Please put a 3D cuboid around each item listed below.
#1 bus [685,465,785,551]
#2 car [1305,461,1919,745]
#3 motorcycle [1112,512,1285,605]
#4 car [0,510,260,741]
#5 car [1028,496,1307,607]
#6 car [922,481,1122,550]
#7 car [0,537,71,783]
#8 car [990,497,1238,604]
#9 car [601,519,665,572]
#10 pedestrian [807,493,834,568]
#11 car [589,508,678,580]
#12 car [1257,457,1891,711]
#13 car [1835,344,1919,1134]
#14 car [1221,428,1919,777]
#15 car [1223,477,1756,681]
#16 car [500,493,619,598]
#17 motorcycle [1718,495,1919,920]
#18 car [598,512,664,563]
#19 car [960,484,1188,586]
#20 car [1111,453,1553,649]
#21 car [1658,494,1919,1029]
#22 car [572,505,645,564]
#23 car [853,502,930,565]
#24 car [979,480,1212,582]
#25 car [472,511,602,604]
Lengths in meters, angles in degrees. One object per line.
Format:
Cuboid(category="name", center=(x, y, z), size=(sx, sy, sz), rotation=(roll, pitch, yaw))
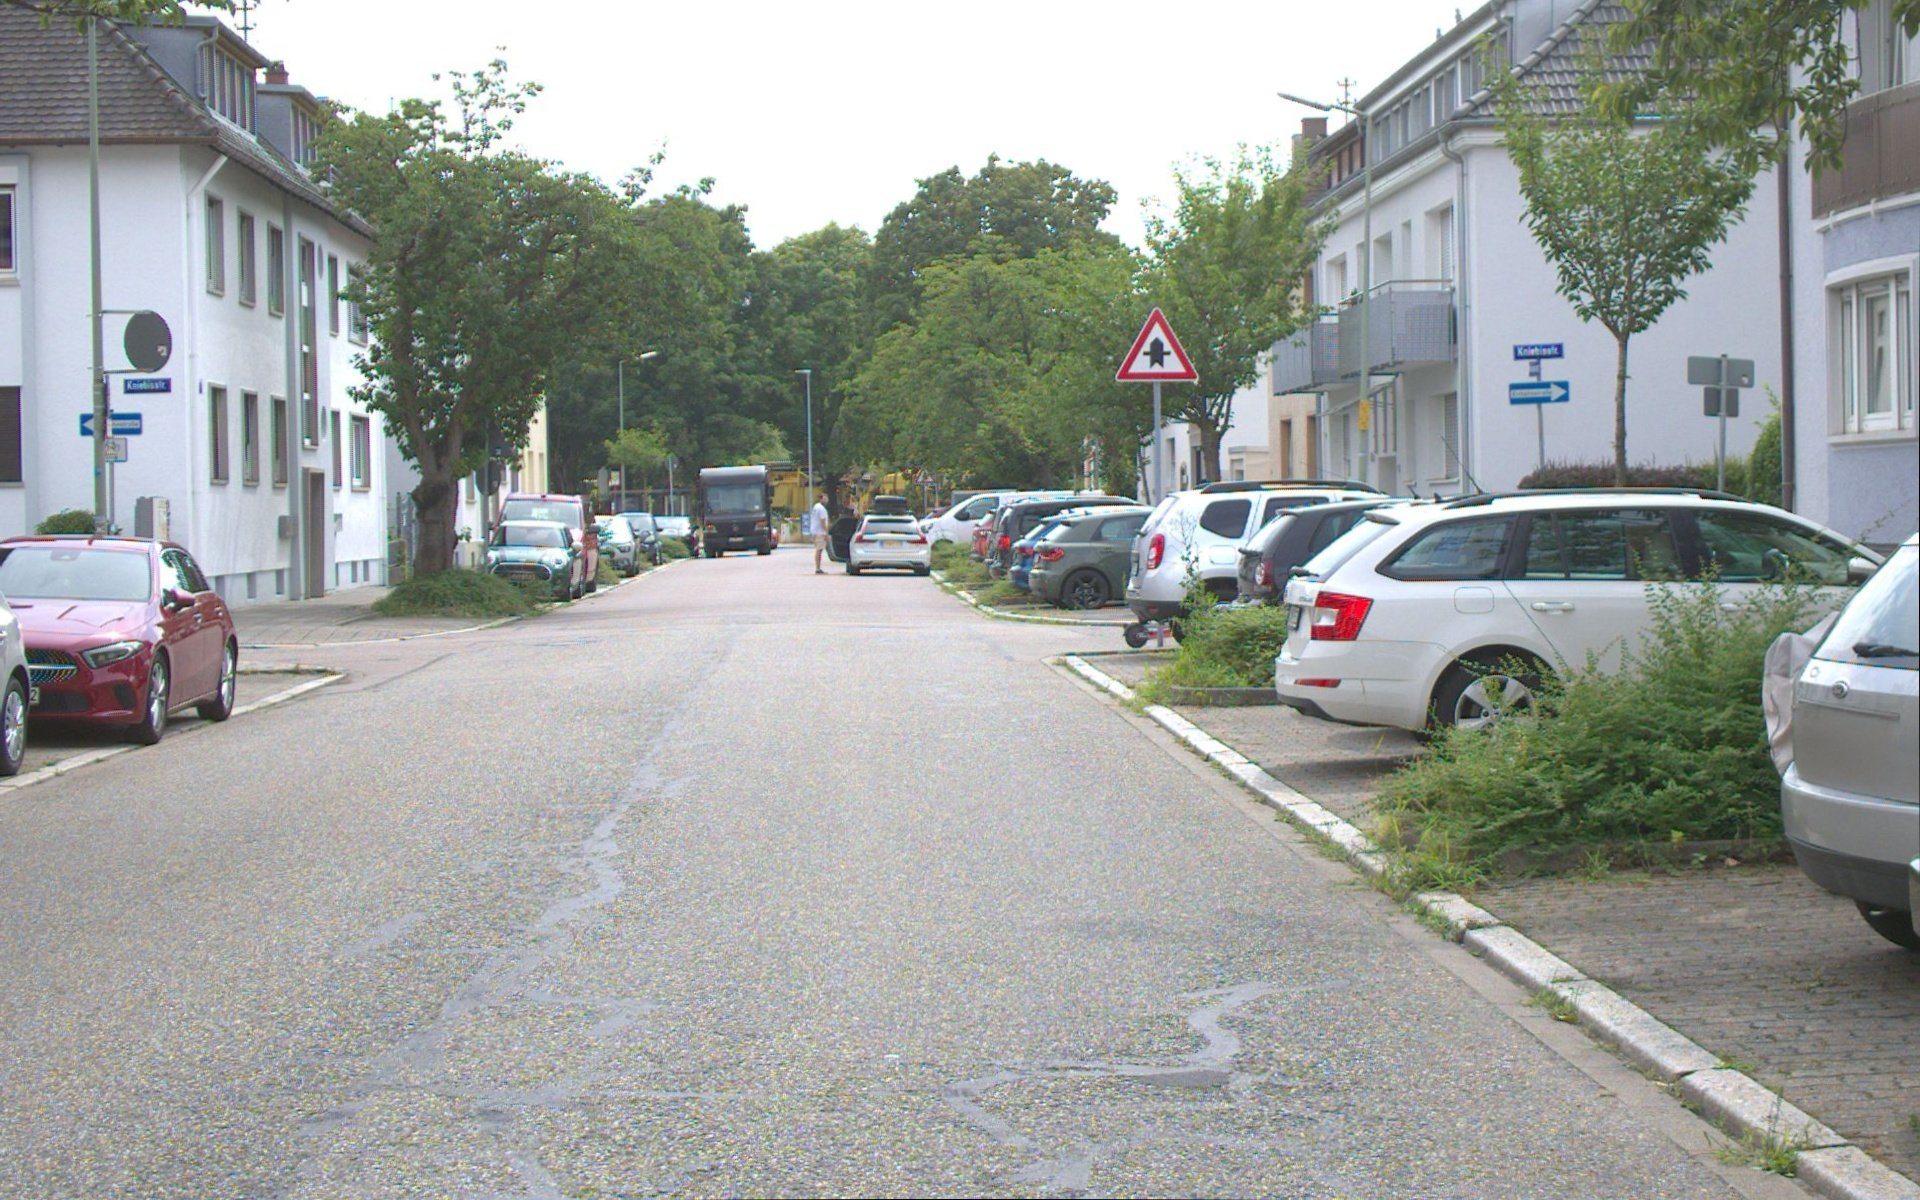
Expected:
Cuboid(category="bus", center=(-7.807, -3.200, 120.145), size=(3.004, 2.751, 8.925), rotation=(-3, 2, -1))
Cuboid(category="car", center=(4.244, -0.019, 21.059), size=(3.987, 1.503, 1.713), rotation=(-3, 1, -2))
Cuboid(category="motorcycle", center=(3.184, -0.567, 46.037), size=(2.193, 1.206, 0.940), rotation=(-1, 1, -4))
Cuboid(category="car", center=(-6.447, 0.134, 24.945), size=(1.877, 1.481, 4.513), rotation=(-3, 2, -2))
Cuboid(category="car", center=(2.889, -0.698, 48.413), size=(3.747, 1.361, 1.773), rotation=(-3, 1, -1))
Cuboid(category="car", center=(1.590, -2.183, 88.775), size=(4.974, 1.513, 1.769), rotation=(-3, 1, -3))
Cuboid(category="car", center=(-6.379, 0.320, 19.054), size=(1.771, 1.387, 4.275), rotation=(5, 1, -1))
Cuboid(category="car", center=(2.264, -0.747, 51.109), size=(3.517, 1.407, 1.559), rotation=(-3, 1, -1))
Cuboid(category="car", center=(-8.650, -1.451, 91.167), size=(1.538, 1.297, 3.722), rotation=(-3, 2, -4))
Cuboid(category="pedestrian", center=(-3.223, -1.610, 79.564), size=(0.522, 1.698, 0.444), rotation=(-3, 1, 2))
Cuboid(category="car", center=(-7.048, -1.230, 74.467), size=(1.651, 1.456, 3.553), rotation=(-3, 2, -2))
Cuboid(category="car", center=(4.175, -0.131, 23.781), size=(3.987, 1.503, 1.713), rotation=(-3, 1, -2))
Cuboid(category="car", center=(4.477, 0.240, 7.675), size=(4.525, 1.851, 1.793), rotation=(-3, 1, 1))
Cuboid(category="car", center=(3.858, -0.041, 18.888), size=(4.614, 1.658, 1.893), rotation=(-3, 1, -1))
Cuboid(category="car", center=(4.250, -0.190, 27.982), size=(3.987, 1.417, 1.713), rotation=(-3, 1, -2))
Cuboid(category="car", center=(-7.986, -1.108, 68.856), size=(1.993, 2.007, 4.521), rotation=(-1, 1, -2))
Cuboid(category="motorcycle", center=(4.234, 0.336, 12.468), size=(2.700, 1.459, 1.032), rotation=(-1, 1, -5))
Cuboid(category="car", center=(-9.543, -1.828, 100.045), size=(1.651, 1.372, 3.722), rotation=(-3, 2, -2))
Cuboid(category="car", center=(1.927, -1.122, 58.955), size=(3.747, 1.559, 1.773), rotation=(-3, 1, -1))
Cuboid(category="car", center=(3.493, -0.478, 32.807), size=(3.923, 1.627, 1.868), rotation=(-3, 1, -1))
Cuboid(category="car", center=(4.199, 0.349, 10.525), size=(3.624, 1.449, 1.773), rotation=(-3, 1, -5))
Cuboid(category="car", center=(-8.776, -1.647, 86.094), size=(1.651, 1.372, 3.722), rotation=(-3, 2, -4))
Cuboid(category="car", center=(-1.587, -1.563, 80.316), size=(1.687, 1.349, 3.827), rotation=(-3, 2, -1))
Cuboid(category="car", center=(2.395, -1.237, 61.502), size=(3.987, 1.612, 1.867), rotation=(-3, 1, -1))
Cuboid(category="car", center=(-7.697, -0.797, 62.808), size=(1.763, 1.548, 3.731), rotation=(-3, 2, 2))
